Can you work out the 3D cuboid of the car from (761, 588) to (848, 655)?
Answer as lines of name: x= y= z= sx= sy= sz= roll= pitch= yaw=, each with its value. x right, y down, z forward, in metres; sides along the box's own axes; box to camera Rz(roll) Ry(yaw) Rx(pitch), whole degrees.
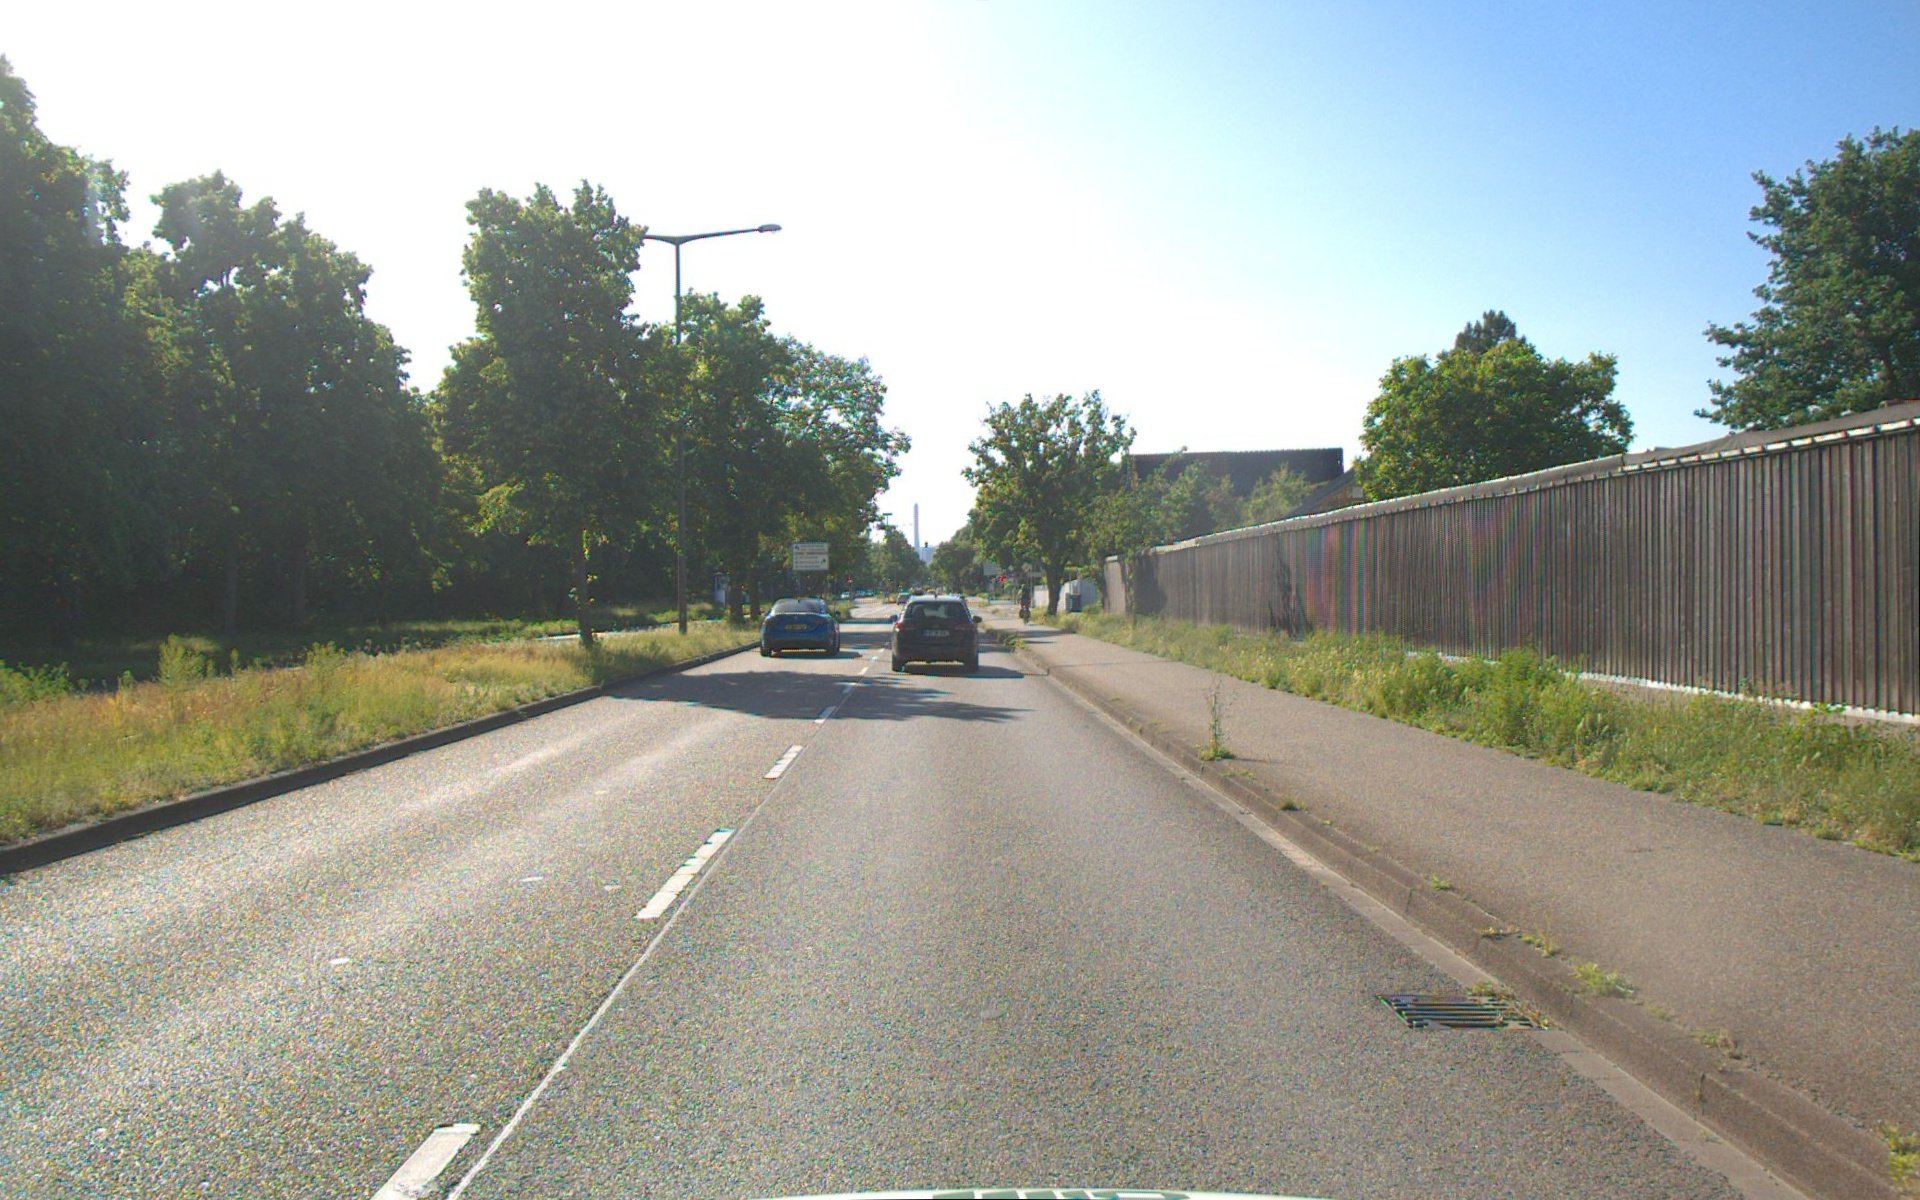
car: x=-3.907 y=0.521 z=42.116 sx=1.850 sy=1.579 sz=3.999 roll=-1 pitch=0 yaw=-1

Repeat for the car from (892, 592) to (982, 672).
car: x=-0.481 y=0.625 z=33.674 sx=1.720 sy=1.535 sz=3.807 roll=0 pitch=0 yaw=-1

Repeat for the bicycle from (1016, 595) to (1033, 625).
bicycle: x=2.758 y=0.433 z=70.792 sx=0.562 sy=1.175 sz=2.142 roll=-4 pitch=1 yaw=5

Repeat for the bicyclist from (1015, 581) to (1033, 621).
bicyclist: x=2.743 y=0.034 z=70.770 sx=0.617 sy=1.661 sz=0.982 roll=-4 pitch=1 yaw=5

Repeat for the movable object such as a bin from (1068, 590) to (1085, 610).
movable object such as a bin: x=7.524 y=0.026 z=106.575 sx=0.980 sy=1.226 sz=1.063 roll=-3 pitch=-1 yaw=6

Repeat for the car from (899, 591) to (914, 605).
car: x=-6.606 y=-0.228 z=204.313 sx=1.787 sy=1.643 sz=3.839 roll=-1 pitch=0 yaw=-1

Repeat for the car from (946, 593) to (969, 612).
car: x=-0.189 y=0.190 z=133.560 sx=1.696 sy=1.485 sz=3.841 roll=-1 pitch=0 yaw=2

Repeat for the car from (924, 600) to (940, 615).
car: x=-3.038 y=0.798 z=177.375 sx=1.697 sy=1.613 sz=3.839 roll=1 pitch=0 yaw=-1
